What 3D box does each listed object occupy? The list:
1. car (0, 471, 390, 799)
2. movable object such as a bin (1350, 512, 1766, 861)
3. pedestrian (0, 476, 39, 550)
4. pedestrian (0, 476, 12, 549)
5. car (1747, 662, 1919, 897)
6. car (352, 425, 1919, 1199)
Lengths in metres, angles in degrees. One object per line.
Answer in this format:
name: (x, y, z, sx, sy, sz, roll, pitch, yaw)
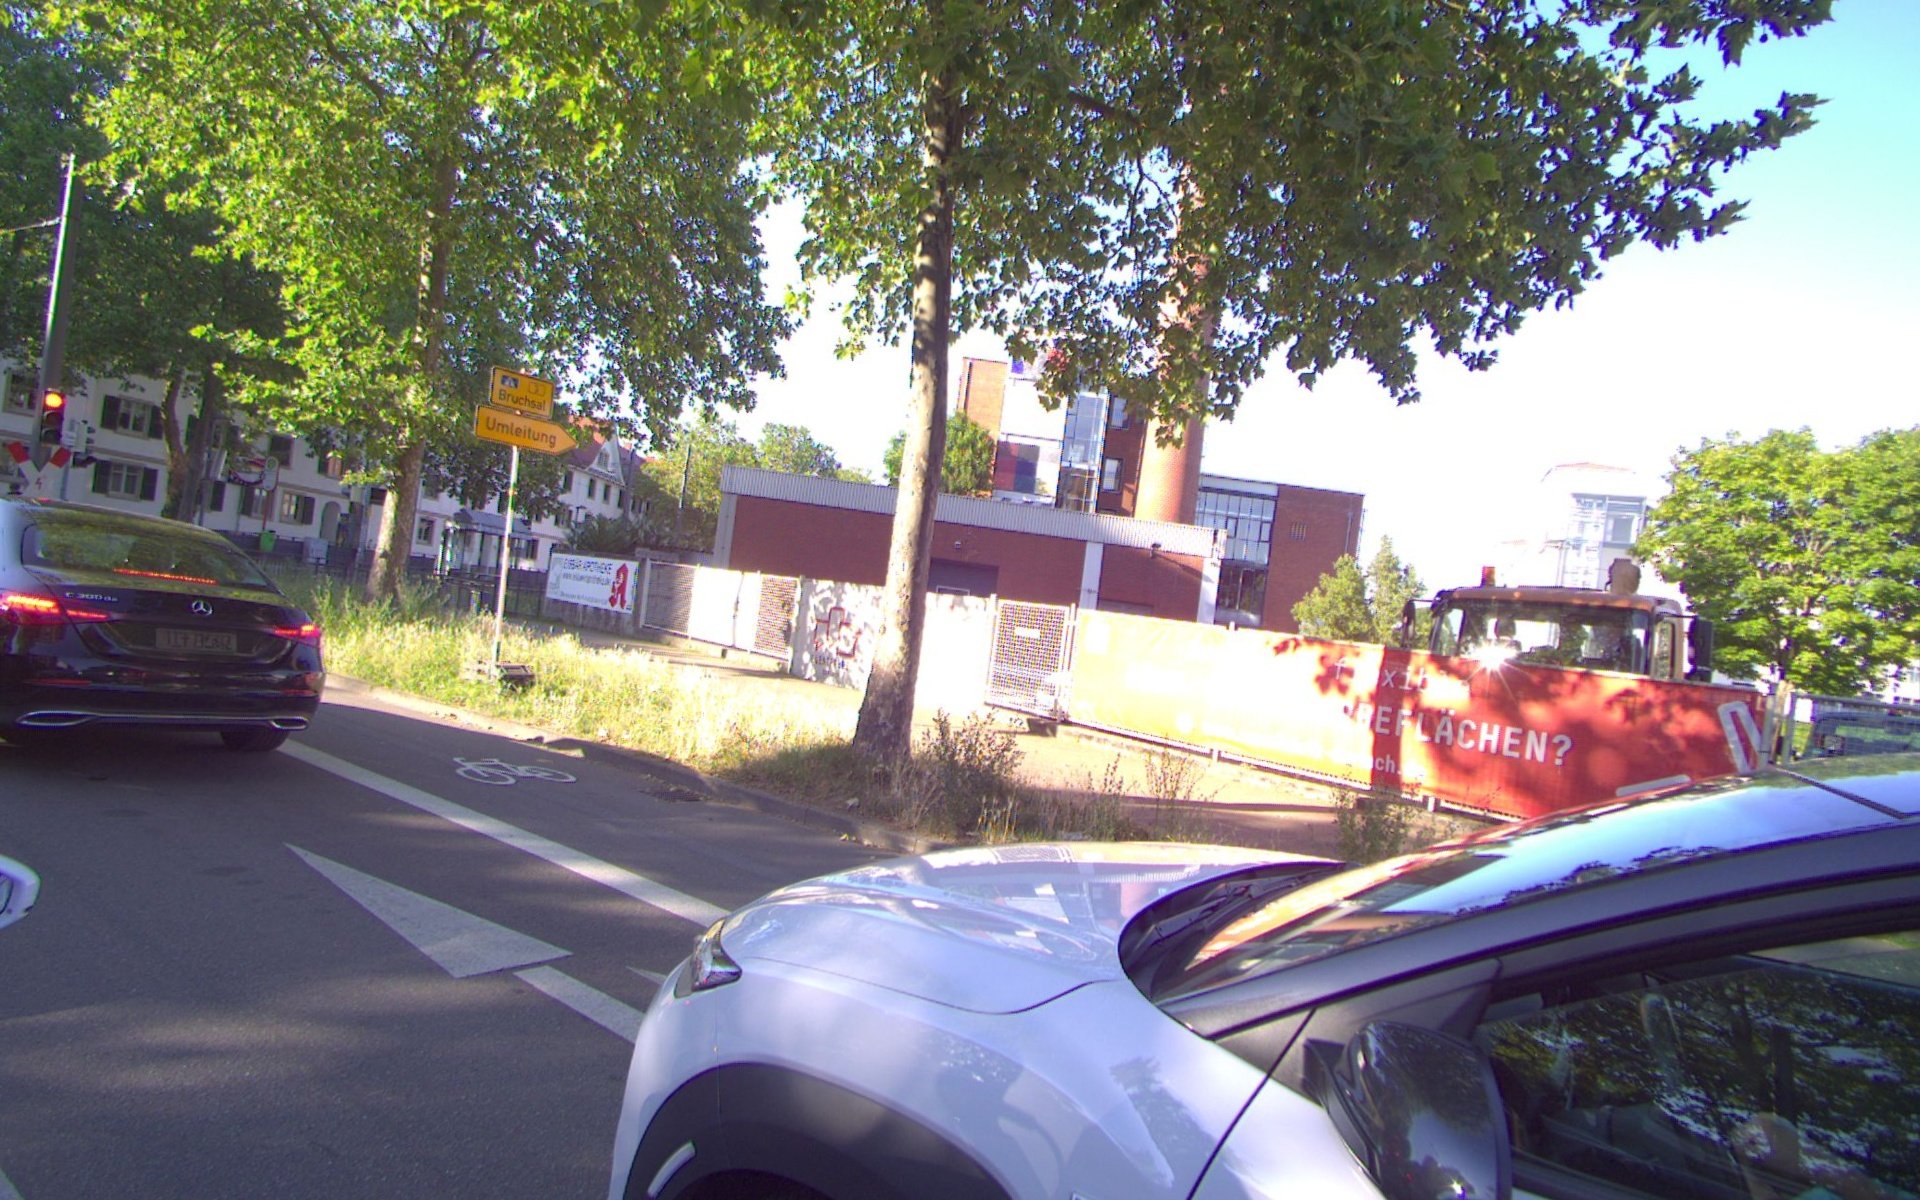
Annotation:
car: (-5.942, 0.004, 6.618, 4.309, 1.508, 1.893, 9, -1, 33)
movable object such as a bin: (7.654, 1.031, 12.404, 3.172, 3.084, 6.266, 6, -2, 41)
pedestrian: (-26.513, -2.434, 28.127, 0.825, 1.940, 0.707, 7, -1, 28)
pedestrian: (-26.110, -2.398, 26.908, 0.825, 1.940, 0.707, 7, -1, 28)
car: (9.583, 1.821, 10.147, 2.016, 1.849, 4.583, 6, -3, 44)
car: (1.212, 0.879, 1.306, 3.901, 1.616, 1.893, 9, -1, 33)
